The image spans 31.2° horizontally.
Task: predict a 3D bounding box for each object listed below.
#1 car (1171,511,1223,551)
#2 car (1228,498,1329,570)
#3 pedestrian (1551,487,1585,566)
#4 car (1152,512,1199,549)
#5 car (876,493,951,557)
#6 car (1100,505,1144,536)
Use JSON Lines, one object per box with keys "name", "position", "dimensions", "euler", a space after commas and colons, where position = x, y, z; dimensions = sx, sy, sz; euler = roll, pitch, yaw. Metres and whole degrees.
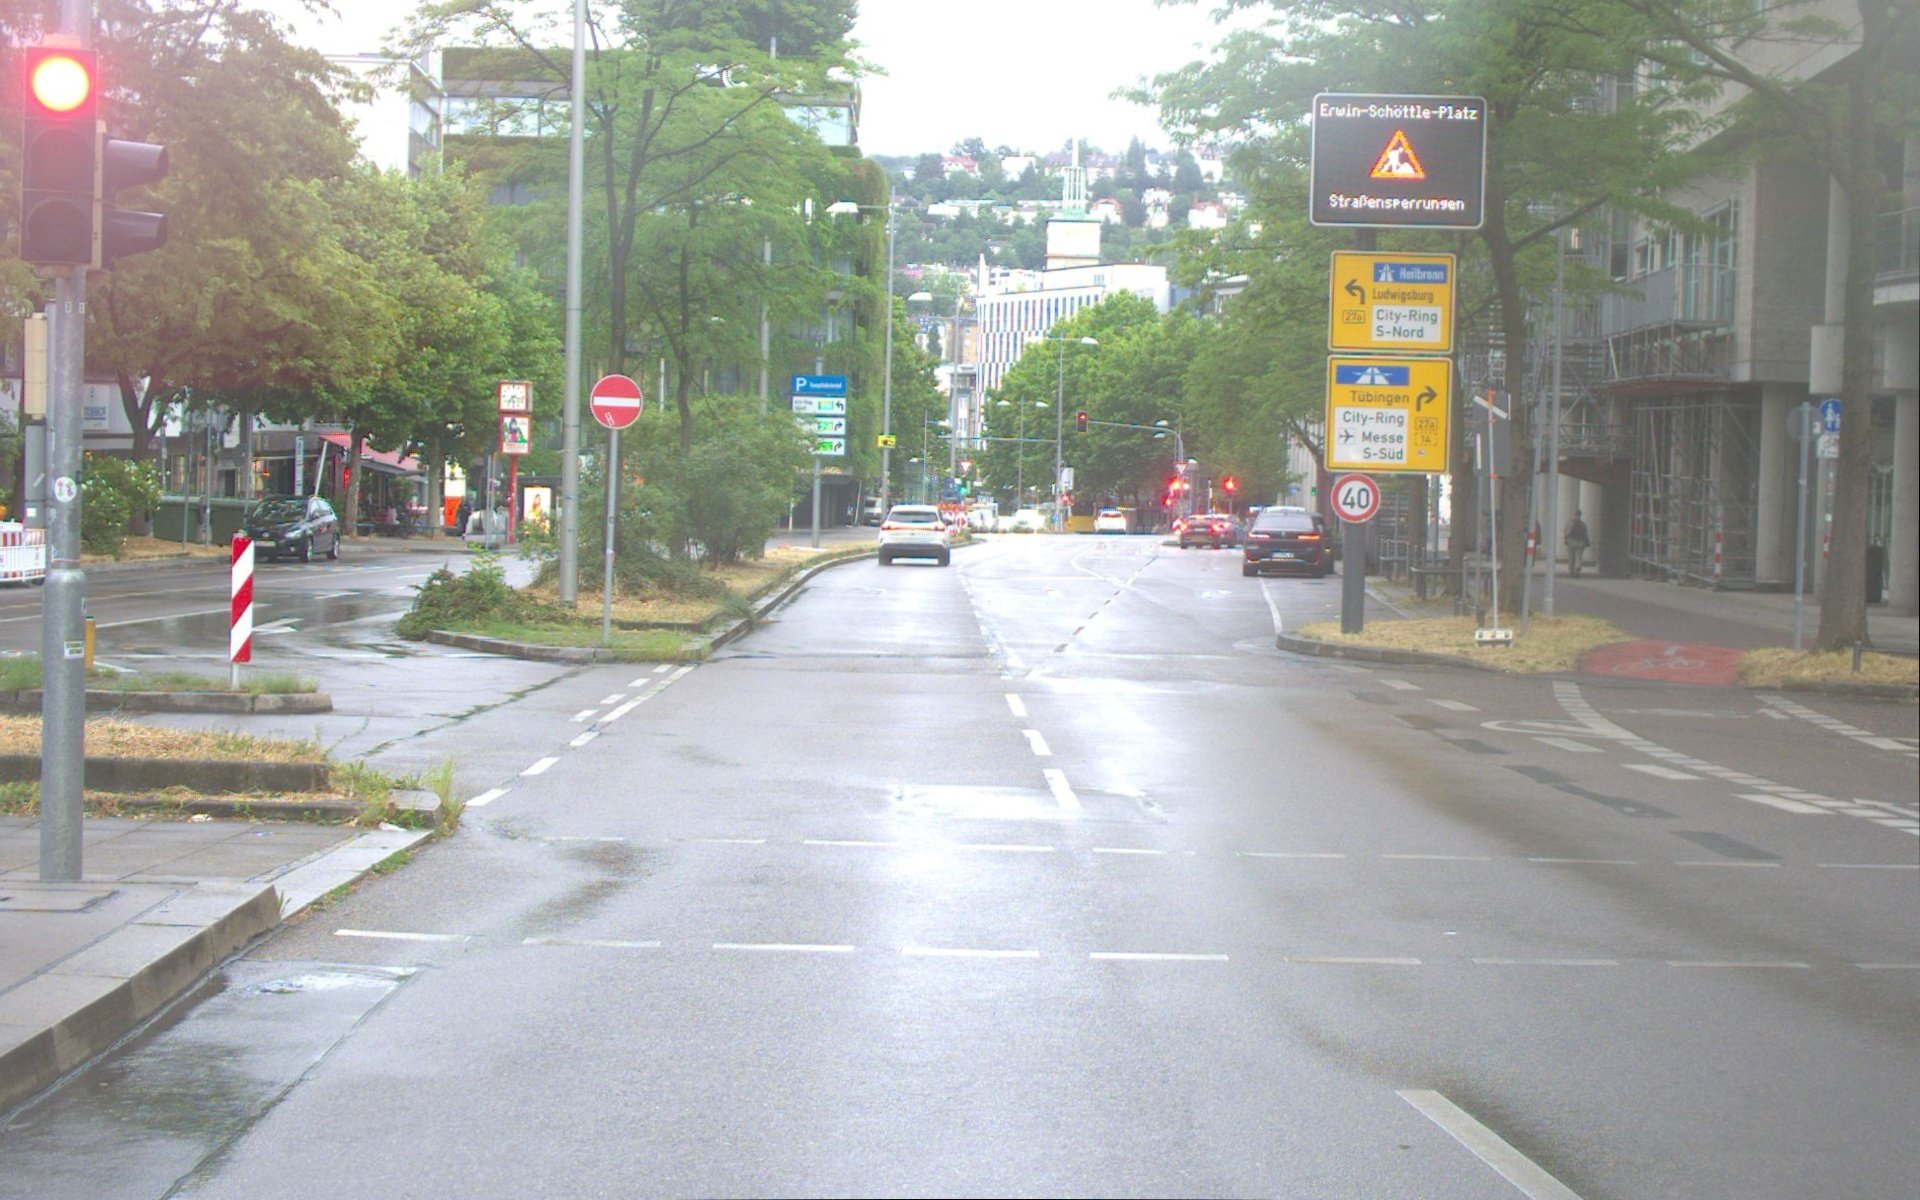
{"name": "car", "position": [10.702, -3.122, 155.535], "dimensions": [1.993, 1.718, 4.000], "euler": [1, 0, -1]}
{"name": "car", "position": [7.751, -1.620, 83.428], "dimensions": [2.339, 1.685, 3.999], "euler": [1, 1, 6]}
{"name": "pedestrian", "position": [14.848, -1.794, 83.950], "dimensions": [0.775, 1.914, 0.702], "euler": [1, 0, 10]}
{"name": "car", "position": [10.440, -3.343, 166.805], "dimensions": [1.993, 1.730, 4.000], "euler": [1, 0, -1]}
{"name": "car", "position": [-1.282, -2.016, 92.667], "dimensions": [1.828, 1.634, 4.301], "euler": [2, 1, -3]}
{"name": "car", "position": [9.981, -4.884, 211.378], "dimensions": [1.995, 1.752, 3.998], "euler": [2, 1, 13]}
